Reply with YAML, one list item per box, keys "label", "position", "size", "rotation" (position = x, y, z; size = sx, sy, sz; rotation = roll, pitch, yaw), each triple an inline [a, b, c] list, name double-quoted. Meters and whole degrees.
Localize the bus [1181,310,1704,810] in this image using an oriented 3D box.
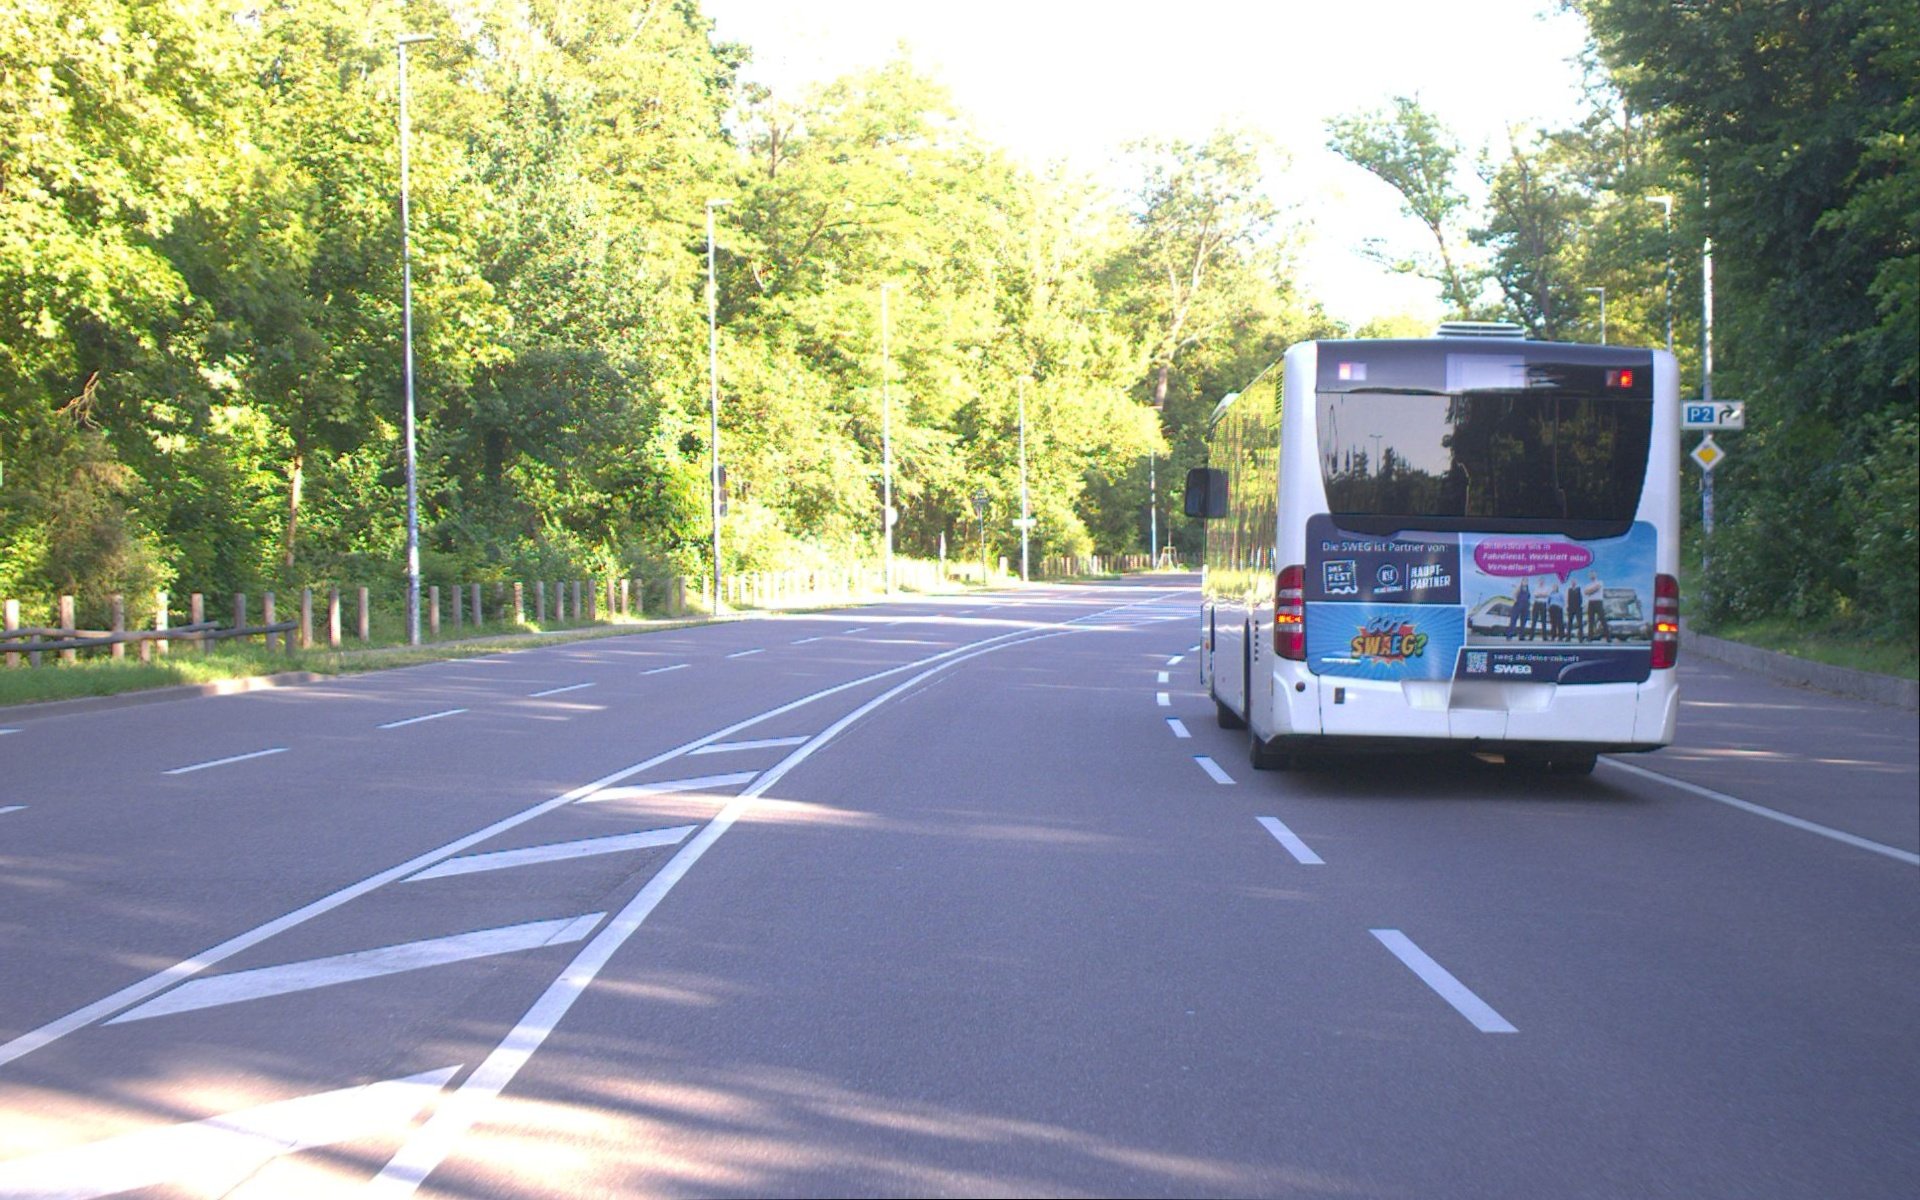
- label: "bus"
  position: [3.341, -0.329, 27.094]
  size: [2.690, 3.032, 12.041]
  rotation: [1, 1, 1]
